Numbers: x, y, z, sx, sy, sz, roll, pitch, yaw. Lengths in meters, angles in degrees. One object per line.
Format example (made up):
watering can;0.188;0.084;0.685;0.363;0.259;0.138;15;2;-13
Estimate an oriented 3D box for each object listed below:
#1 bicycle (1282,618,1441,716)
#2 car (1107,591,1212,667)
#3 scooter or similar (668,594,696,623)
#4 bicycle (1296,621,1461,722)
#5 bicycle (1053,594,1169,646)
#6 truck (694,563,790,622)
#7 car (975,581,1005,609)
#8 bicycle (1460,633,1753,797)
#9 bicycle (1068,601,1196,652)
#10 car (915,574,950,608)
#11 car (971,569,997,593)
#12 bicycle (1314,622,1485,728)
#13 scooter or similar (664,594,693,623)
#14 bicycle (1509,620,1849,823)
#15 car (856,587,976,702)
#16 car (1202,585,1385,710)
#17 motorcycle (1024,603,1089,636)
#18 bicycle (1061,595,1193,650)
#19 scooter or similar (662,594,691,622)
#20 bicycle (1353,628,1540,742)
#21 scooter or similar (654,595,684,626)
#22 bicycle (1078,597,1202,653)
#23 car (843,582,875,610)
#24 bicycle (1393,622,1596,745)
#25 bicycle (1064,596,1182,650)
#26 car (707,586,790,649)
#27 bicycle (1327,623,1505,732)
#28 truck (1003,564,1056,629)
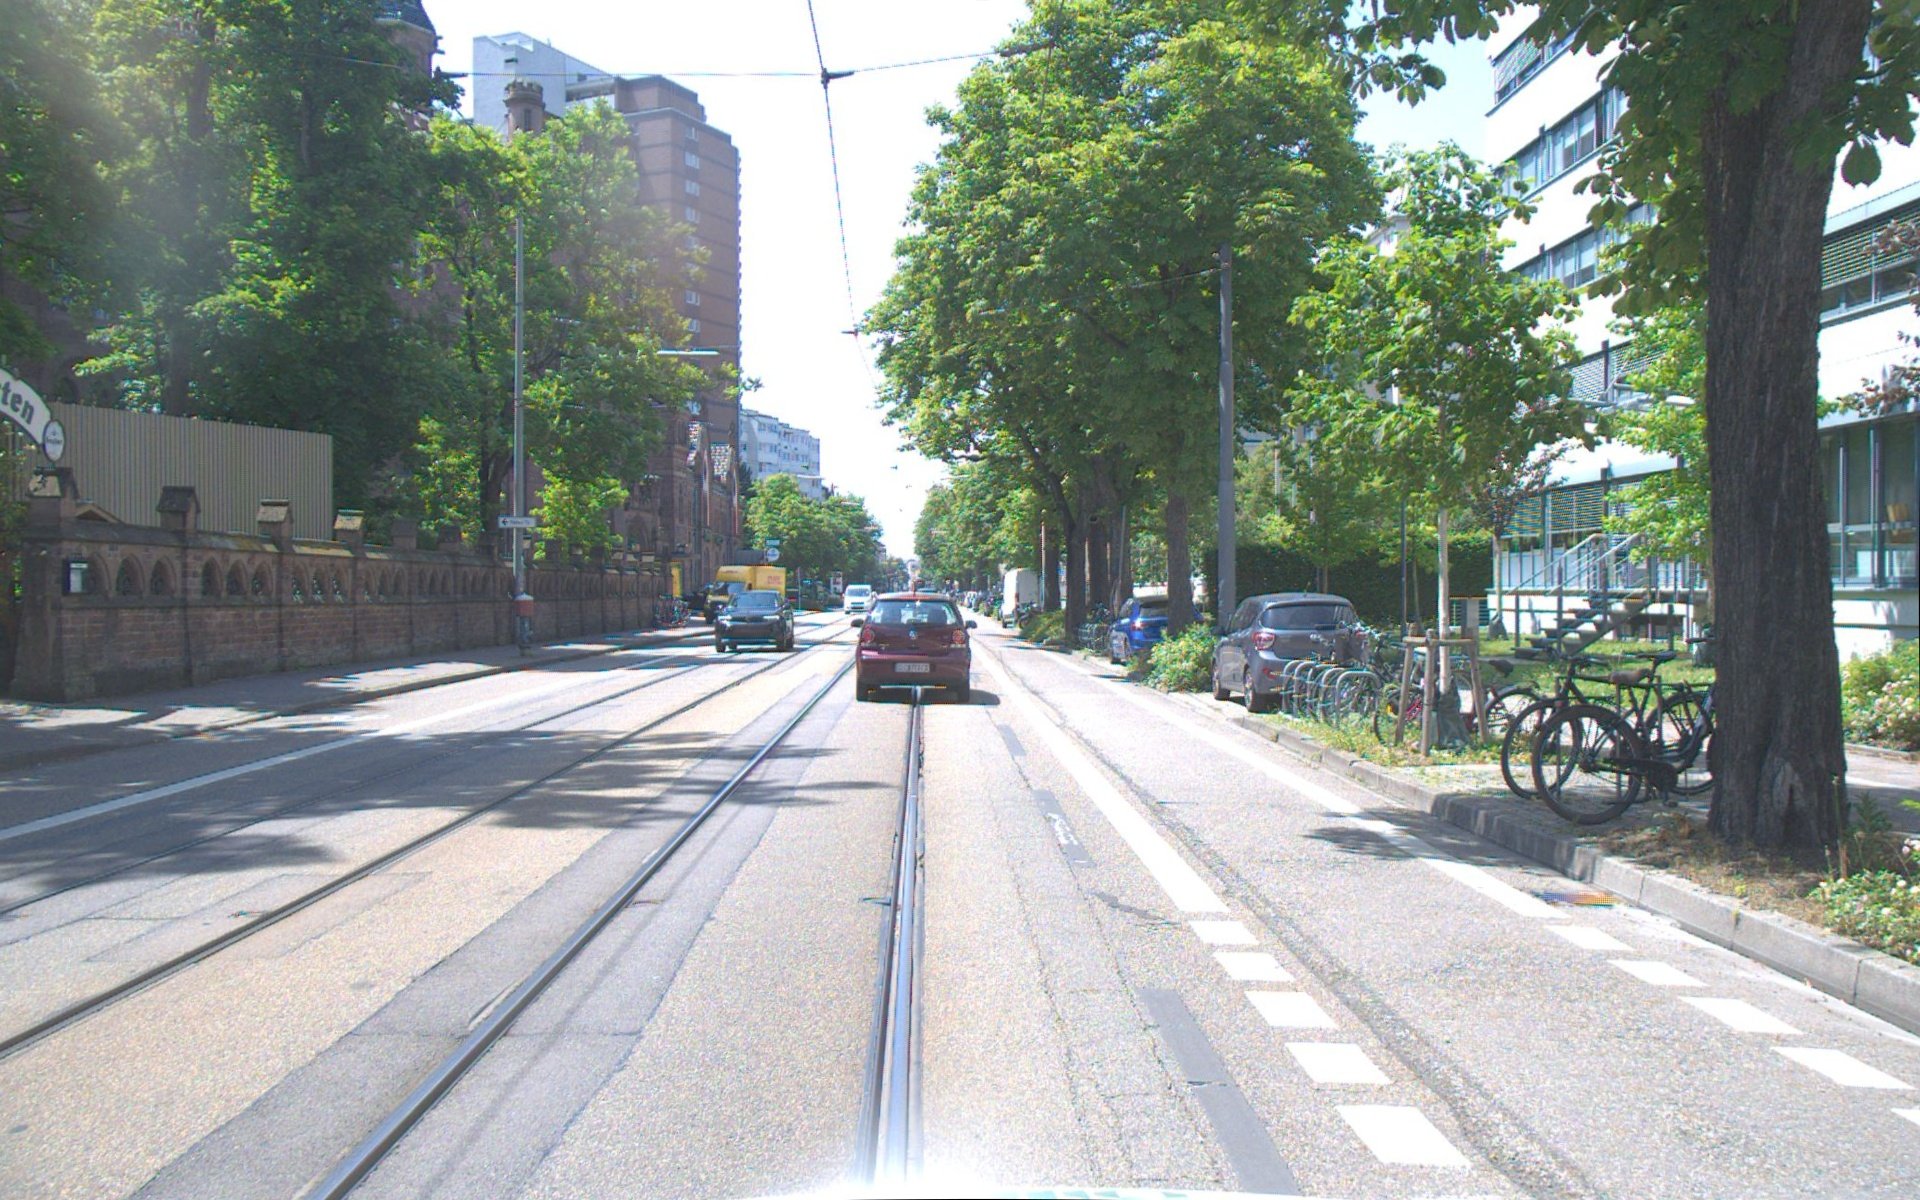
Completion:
bicycle;4.667;0.775;19.262;1.715;1.104;0.548;0;0;-2
car;4.136;0.560;34.774;1.654;1.494;3.878;0;0;-2
scooter or similar;-11.688;0.356;69.557;1.073;1.175;0.524;1;0;-23
bicycle;4.699;0.796;18.613;1.715;1.104;0.548;0;0;-2
bicycle;4.070;0.542;44.686;3.008;1.336;0.781;1;0;-3
truck;-10.933;-0.366;83.598;2.319;2.835;7.325;0;0;14
car;1.870;-0.334;103.725;1.641;1.685;3.999;1;1;-2
bicycle;4.540;0.798;11.709;1.787;1.104;0.718;-1;-1;2
bicycle;4.209;0.645;40.597;3.008;1.175;0.781;1;0;-3
car;-1.751;-0.568;104.397;1.954;2.049;3.997;1;1;-4
car;1.737;-1.403;120.319;1.641;1.685;3.999;1;1;-2
bicycle;4.759;0.805;17.966;1.715;1.104;0.548;0;0;-2
scooter or similar;-11.620;0.333;68.367;1.073;1.175;0.524;1;0;-23
bicycle;4.522;0.745;10.481;1.845;1.203;0.694;-1;0;-2
car;-0.652;0.575;24.034;1.586;1.512;3.998;0;0;-2
car;4.490;0.587;22.745;1.654;1.529;3.626;-2;0;-2
motorcycle;3.768;0.747;64.355;2.501;1.208;0.942;1;0;4
bicycle;4.296;0.566;42.784;3.300;1.336;0.781;1;0;-3
scooter or similar;-11.797;0.332;68.880;1.073;1.175;0.524;1;0;-23
bicycle;4.865;0.843;16.577;1.715;1.104;0.548;0;0;-2
scooter or similar;-11.569;0.413;65.684;1.073;1.175;0.524;1;0;-23
bicycle;4.526;0.629;41.705;3.008;1.336;0.781;1;0;-3
car;-6.793;-0.281;111.536;1.953;1.887;4.680;0;0;-2
bicycle;4.976;0.770;15.448;1.715;1.104;0.548;0;0;-2
bicycle;4.303;0.606;43.685;3.008;1.336;0.781;1;0;-3
car;-5.418;0.409;42.770;1.735;1.542;3.999;0;0;-1
bicycle;4.774;0.805;17.357;1.715;1.104;0.548;0;0;-2
truck;3.015;-0.178;72.357;1.953;2.708;4.874;1;0;-2
